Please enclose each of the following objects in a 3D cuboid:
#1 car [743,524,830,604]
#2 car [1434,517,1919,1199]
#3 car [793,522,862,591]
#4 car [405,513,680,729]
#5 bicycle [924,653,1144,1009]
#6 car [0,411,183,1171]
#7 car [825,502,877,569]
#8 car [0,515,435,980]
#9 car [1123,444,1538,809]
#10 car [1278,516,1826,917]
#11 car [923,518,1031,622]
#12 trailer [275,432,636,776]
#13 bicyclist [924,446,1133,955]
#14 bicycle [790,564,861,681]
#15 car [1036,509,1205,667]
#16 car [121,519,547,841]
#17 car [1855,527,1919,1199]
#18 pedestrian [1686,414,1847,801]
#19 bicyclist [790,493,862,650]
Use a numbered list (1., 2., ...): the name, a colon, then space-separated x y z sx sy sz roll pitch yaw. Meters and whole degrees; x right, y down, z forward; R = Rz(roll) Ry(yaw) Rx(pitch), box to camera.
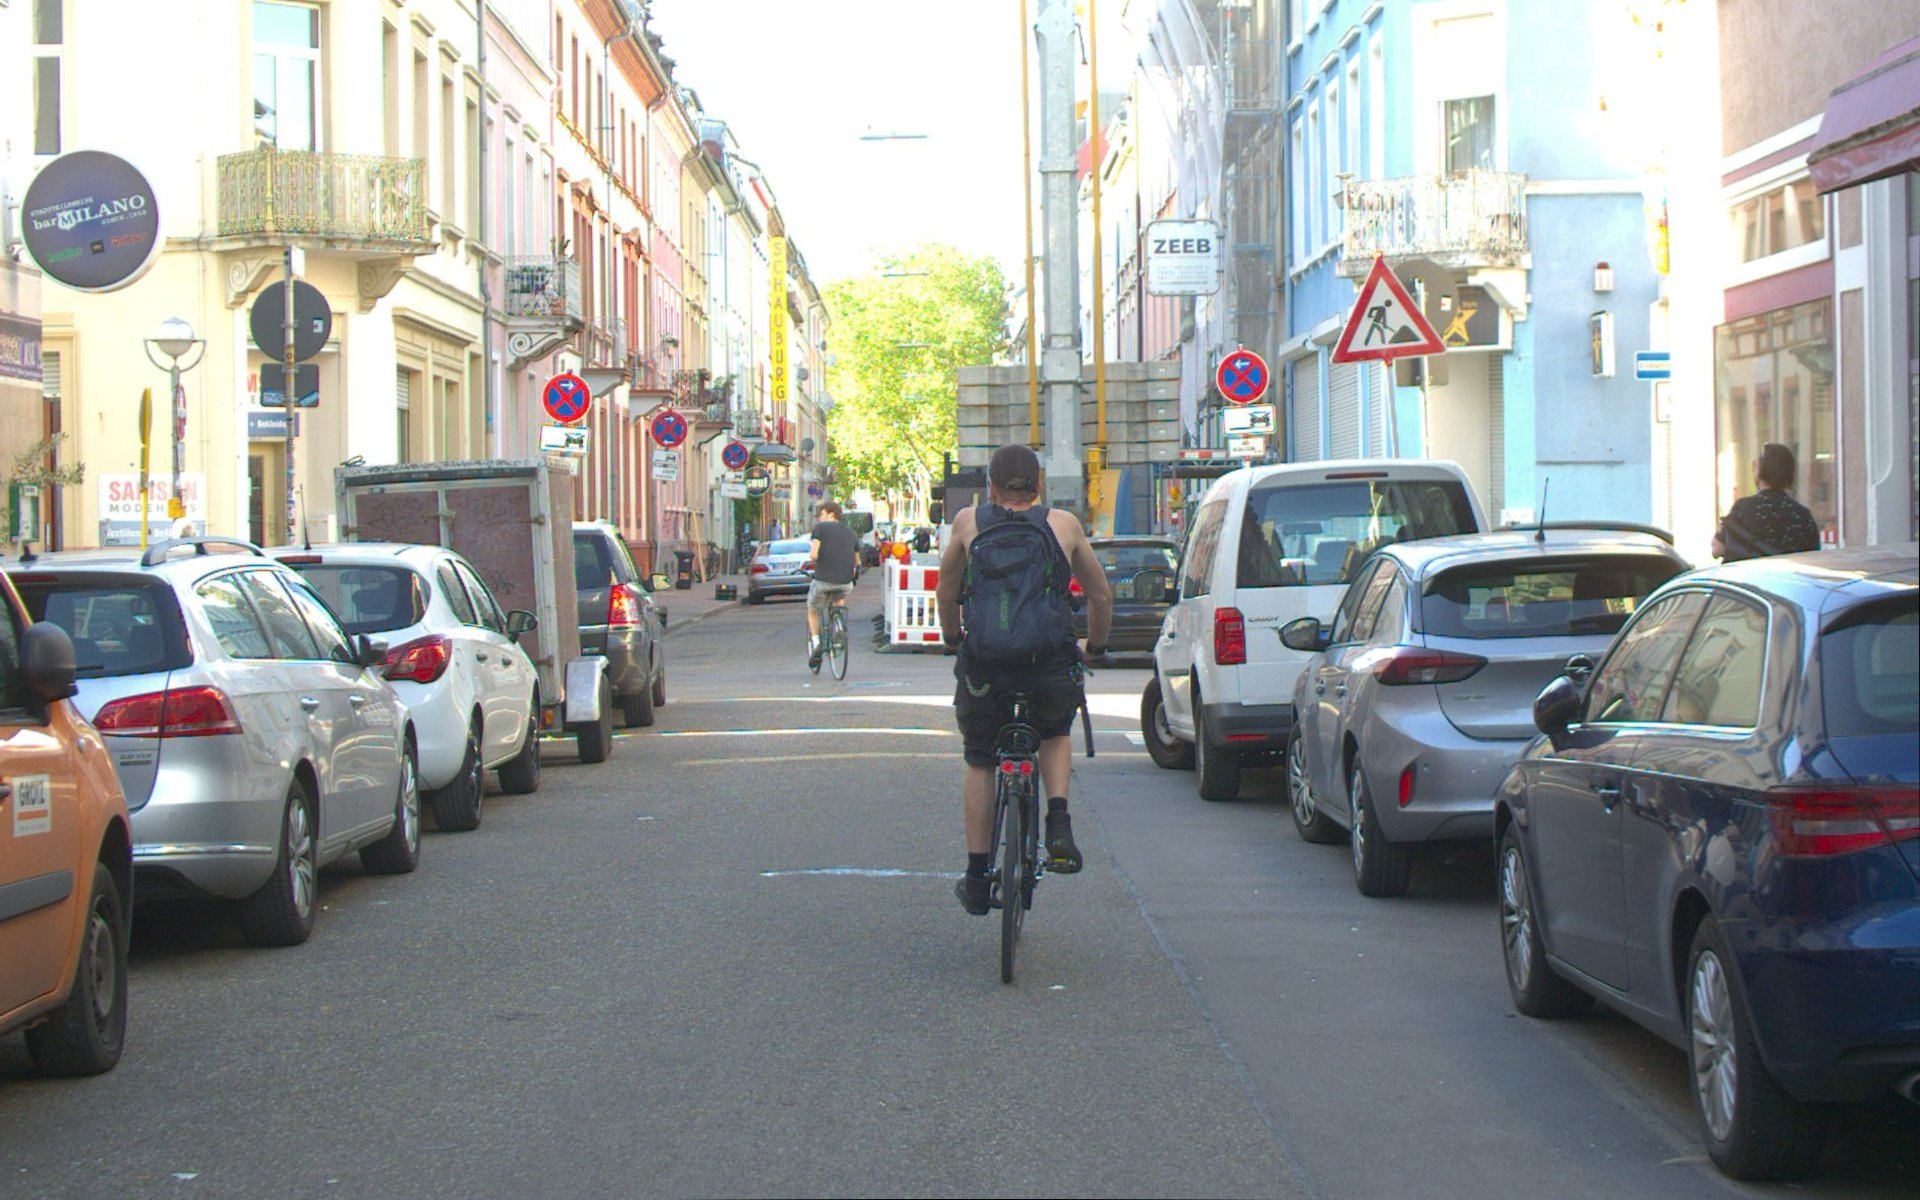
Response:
1. car: -3.854 -0.808 76.724 1.750 1.678 3.796 -2 1 -1
2. car: 2.437 0.550 9.175 1.646 1.470 3.971 -5 1 -1
3. car: -3.590 -1.187 93.808 1.750 1.815 3.796 -2 1 -1
4. car: -3.271 0.134 27.570 1.750 1.567 3.796 -2 1 -1
5. bicycle: 0.225 0.748 11.873 0.677 1.071 1.942 0 1 -1
6. car: -3.185 0.483 8.184 1.752 1.810 4.078 -3 1 -1
7. car: -3.888 -2.301 122.907 1.750 2.310 3.796 -2 1 -1
8. car: -3.284 0.479 13.652 1.750 1.532 4.319 -2 1 -1
9. car: 2.046 0.115 20.056 1.750 1.872 3.973 -2 1 -3
10. car: 2.430 0.421 14.997 1.750 1.481 3.800 -2 1 1
11. car: 0.233 -0.475 53.634 1.611 1.555 3.610 0 1 -1
12. trailer: -3.315 0.001 23.253 1.882 2.085 3.737 -2 1 -1
13. bicyclist: 0.220 0.325 11.872 0.667 1.671 1.097 0 1 -1
14. bicycle: -1.337 0.206 34.402 0.648 1.125 2.136 0 1 -1
15. car: 1.699 -0.145 37.368 1.611 1.628 3.610 0 1 -1
16. car: -3.286 0.371 18.672 1.653 1.532 3.634 -2 1 -1
17. car: 2.565 0.594 4.631 1.667 1.500 3.816 -3 1 0
18. pedestrian: 4.266 0.035 18.227 0.644 2.007 0.764 0 1 -1
19. bicyclist: -1.349 -0.286 34.524 0.671 1.562 0.716 0 1 -6
